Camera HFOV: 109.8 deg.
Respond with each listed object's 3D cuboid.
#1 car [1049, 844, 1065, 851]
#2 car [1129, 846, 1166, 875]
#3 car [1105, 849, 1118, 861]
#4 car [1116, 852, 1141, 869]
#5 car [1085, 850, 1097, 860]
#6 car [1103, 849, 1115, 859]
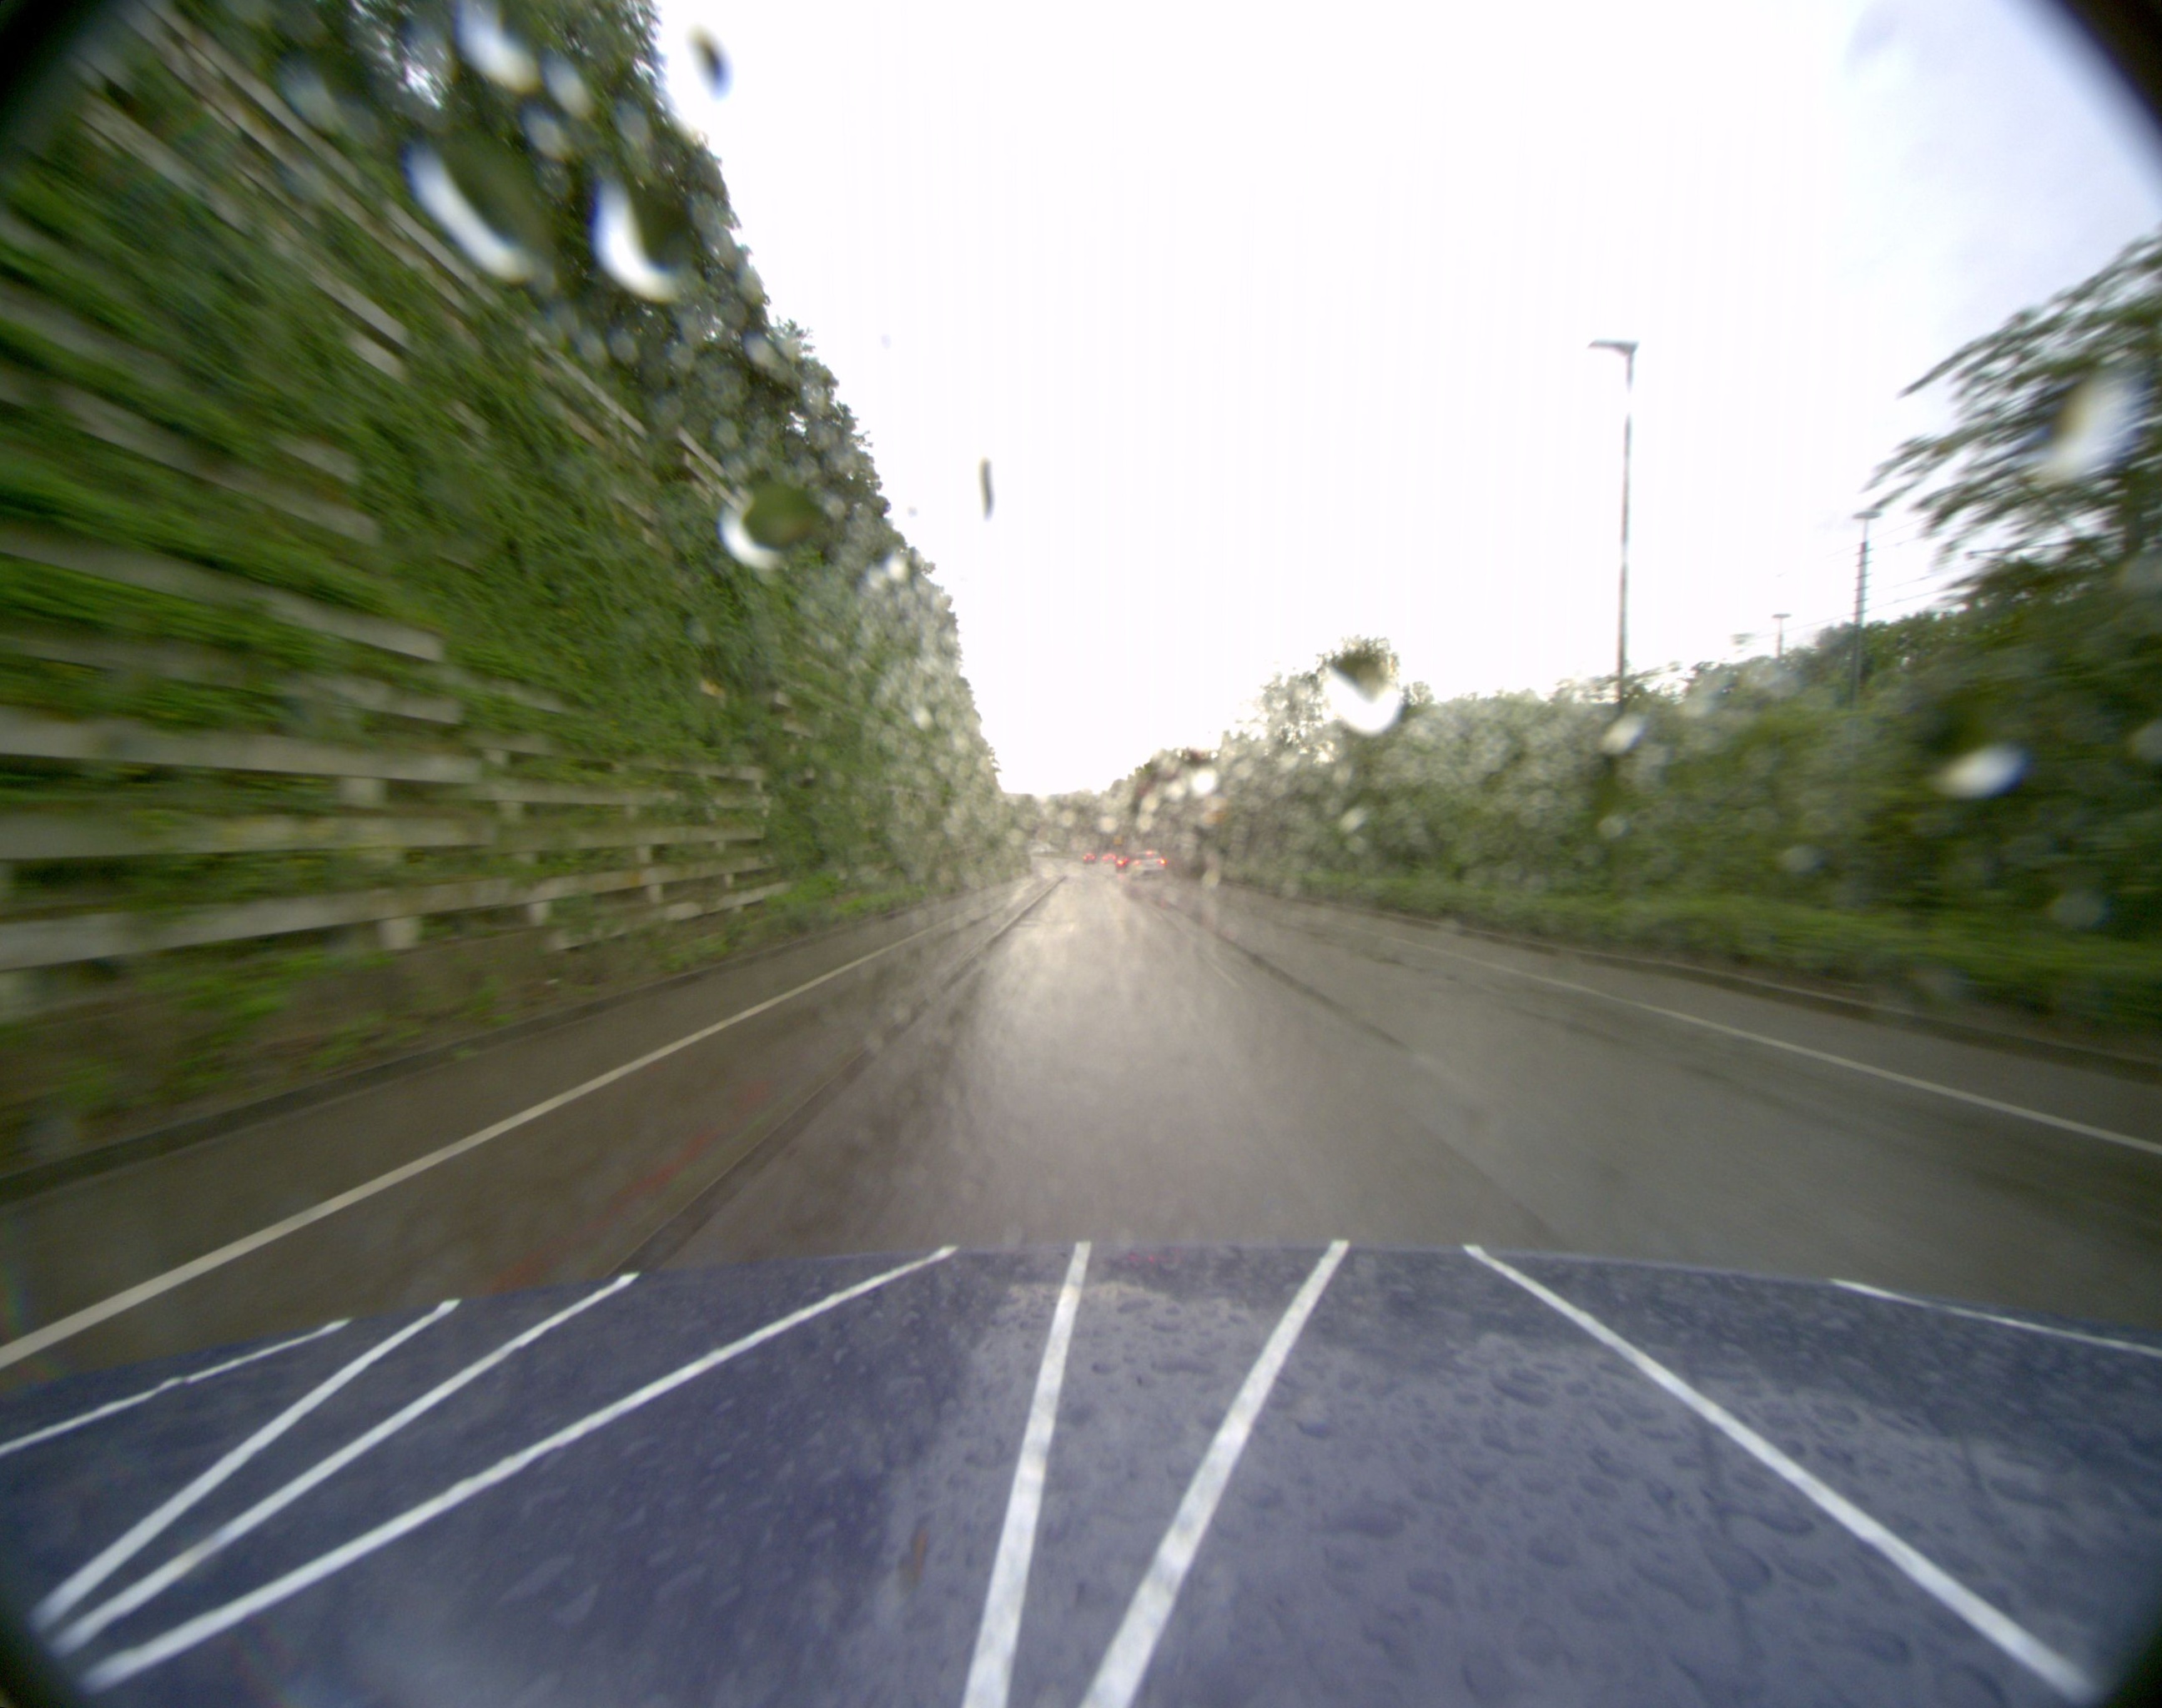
[{"bbox_3d":[-5.760,-1.622,183.663,3.823,1.559,1.773,2,2,-4],"label":"car"},{"bbox_3d":[3.941,0.349,45.883,1.827,1.605,4.092,-2,0,0],"label":"car"},{"bbox_3d":[5.072,0.122,125.820,1.818,1.648,4.051,3,3,7],"label":"car"},{"bbox_3d":[4.140,0.521,67.415,1.870,1.440,4.376,-1,0,-1],"label":"car"},{"bbox_3d":[1.628,0.151,123.582,1.736,1.609,4.000,-1,1,4],"label":"car"},{"bbox_3d":[4.898,-0.040,133.000,1.998,1.494,4.727,2,2,0],"label":"car"}]
